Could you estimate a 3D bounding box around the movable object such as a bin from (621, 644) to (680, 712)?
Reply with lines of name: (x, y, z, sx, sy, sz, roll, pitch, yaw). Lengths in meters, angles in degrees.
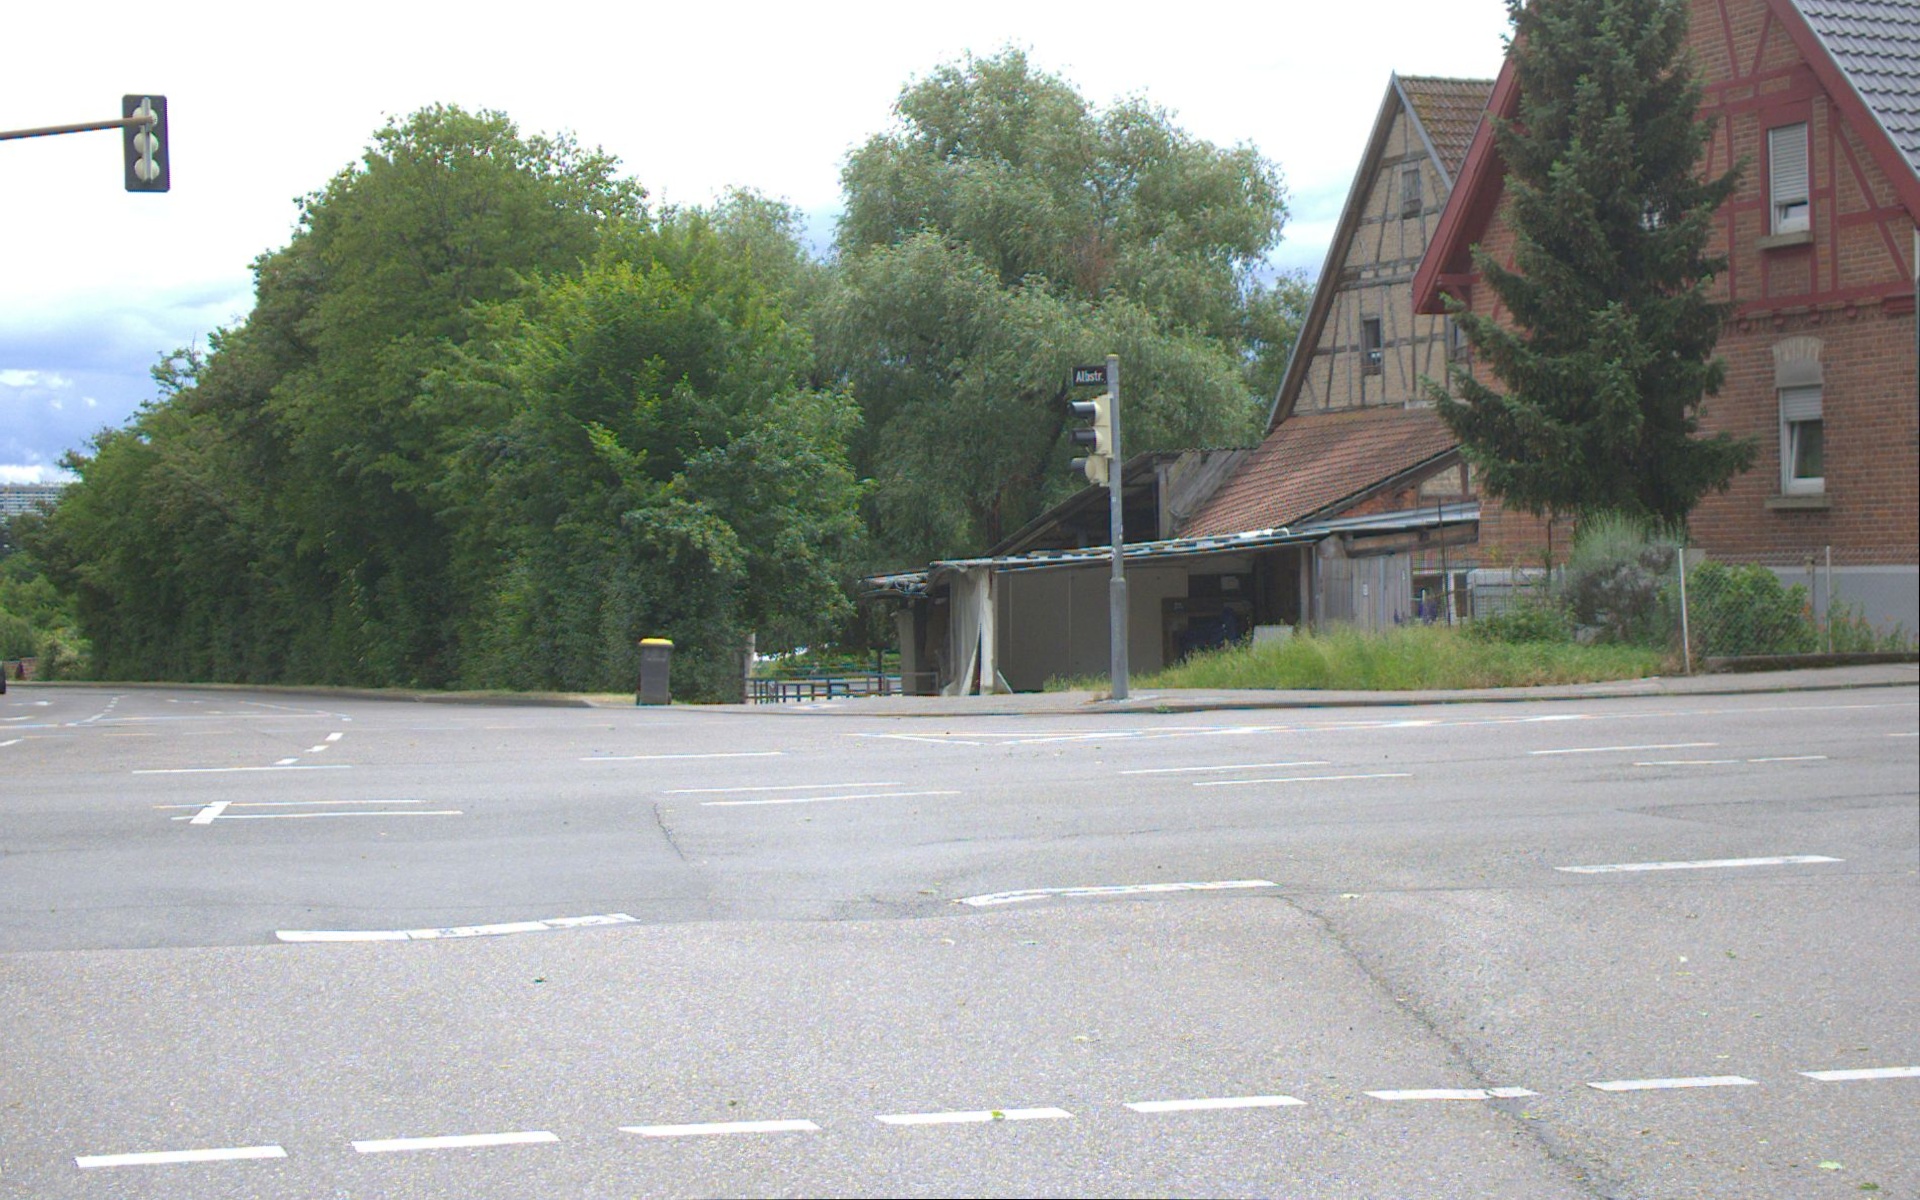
movable object such as a bin: (-4.279, 1.074, 47.503, 0.592, 0.903, 0.602, -1, 0, 19)

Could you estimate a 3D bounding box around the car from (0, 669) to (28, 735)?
car: (-27.109, 2.843, 96.005, 1.993, 1.744, 4.001, -2, 0, -16)
